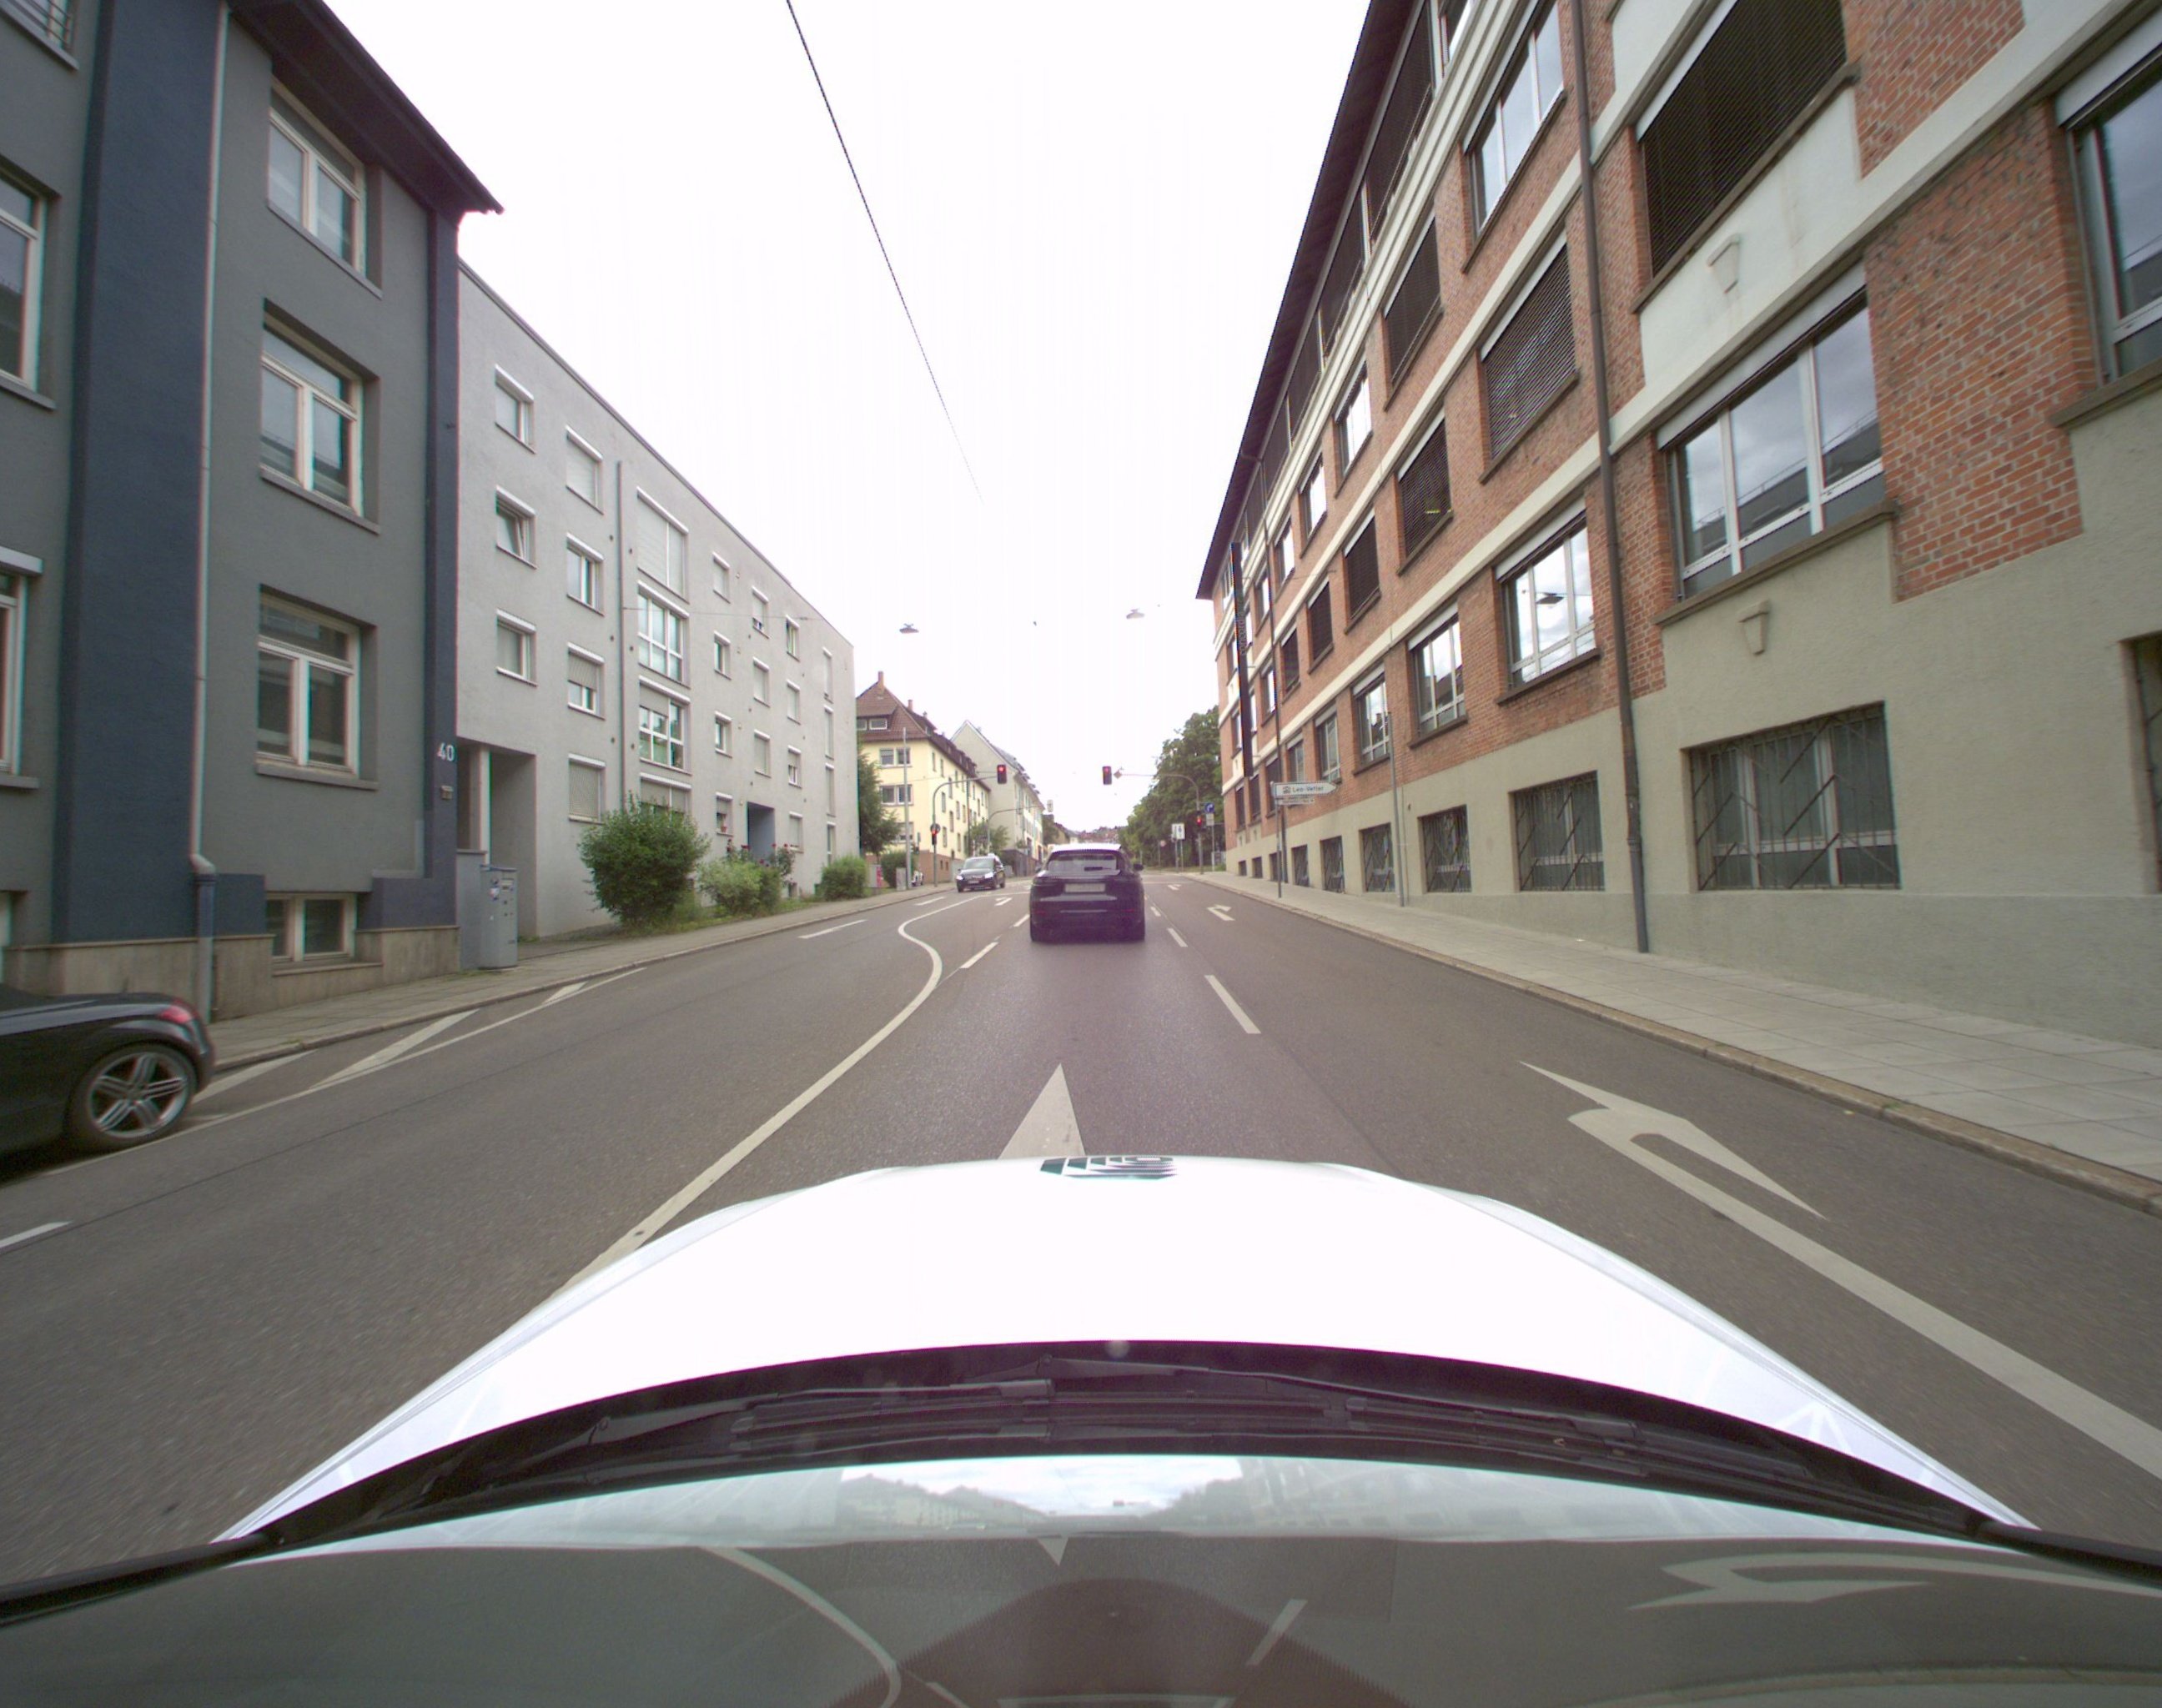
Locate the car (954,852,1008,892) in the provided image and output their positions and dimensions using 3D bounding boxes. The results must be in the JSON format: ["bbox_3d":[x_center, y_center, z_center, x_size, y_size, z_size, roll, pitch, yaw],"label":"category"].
[{"bbox_3d":[-4.733,0.825,39.259,1.777,1.706,4.309,-5,0,2],"label":"car"}]

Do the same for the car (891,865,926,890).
[{"bbox_3d":[-12.362,1.654,58.518,1.686,1.555,3.763,-5,0,-2],"label":"car"}]

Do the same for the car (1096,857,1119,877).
[{"bbox_3d":[2.268,1.068,68.392,1.820,1.605,4.137,-1,0,2],"label":"car"}]

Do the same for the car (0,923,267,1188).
[{"bbox_3d":[-6.815,1.237,3.852,1.714,1.327,4.042,-5,0,1],"label":"car"}]

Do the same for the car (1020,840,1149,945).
[{"bbox_3d":[0.150,0.612,15.231,2.040,1.666,4.269,-1,0,2],"label":"car"}]

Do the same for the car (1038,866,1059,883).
[{"bbox_3d":[-3.088,1.978,78.211,1.667,1.400,3.796,-5,0,2],"label":"car"}]
